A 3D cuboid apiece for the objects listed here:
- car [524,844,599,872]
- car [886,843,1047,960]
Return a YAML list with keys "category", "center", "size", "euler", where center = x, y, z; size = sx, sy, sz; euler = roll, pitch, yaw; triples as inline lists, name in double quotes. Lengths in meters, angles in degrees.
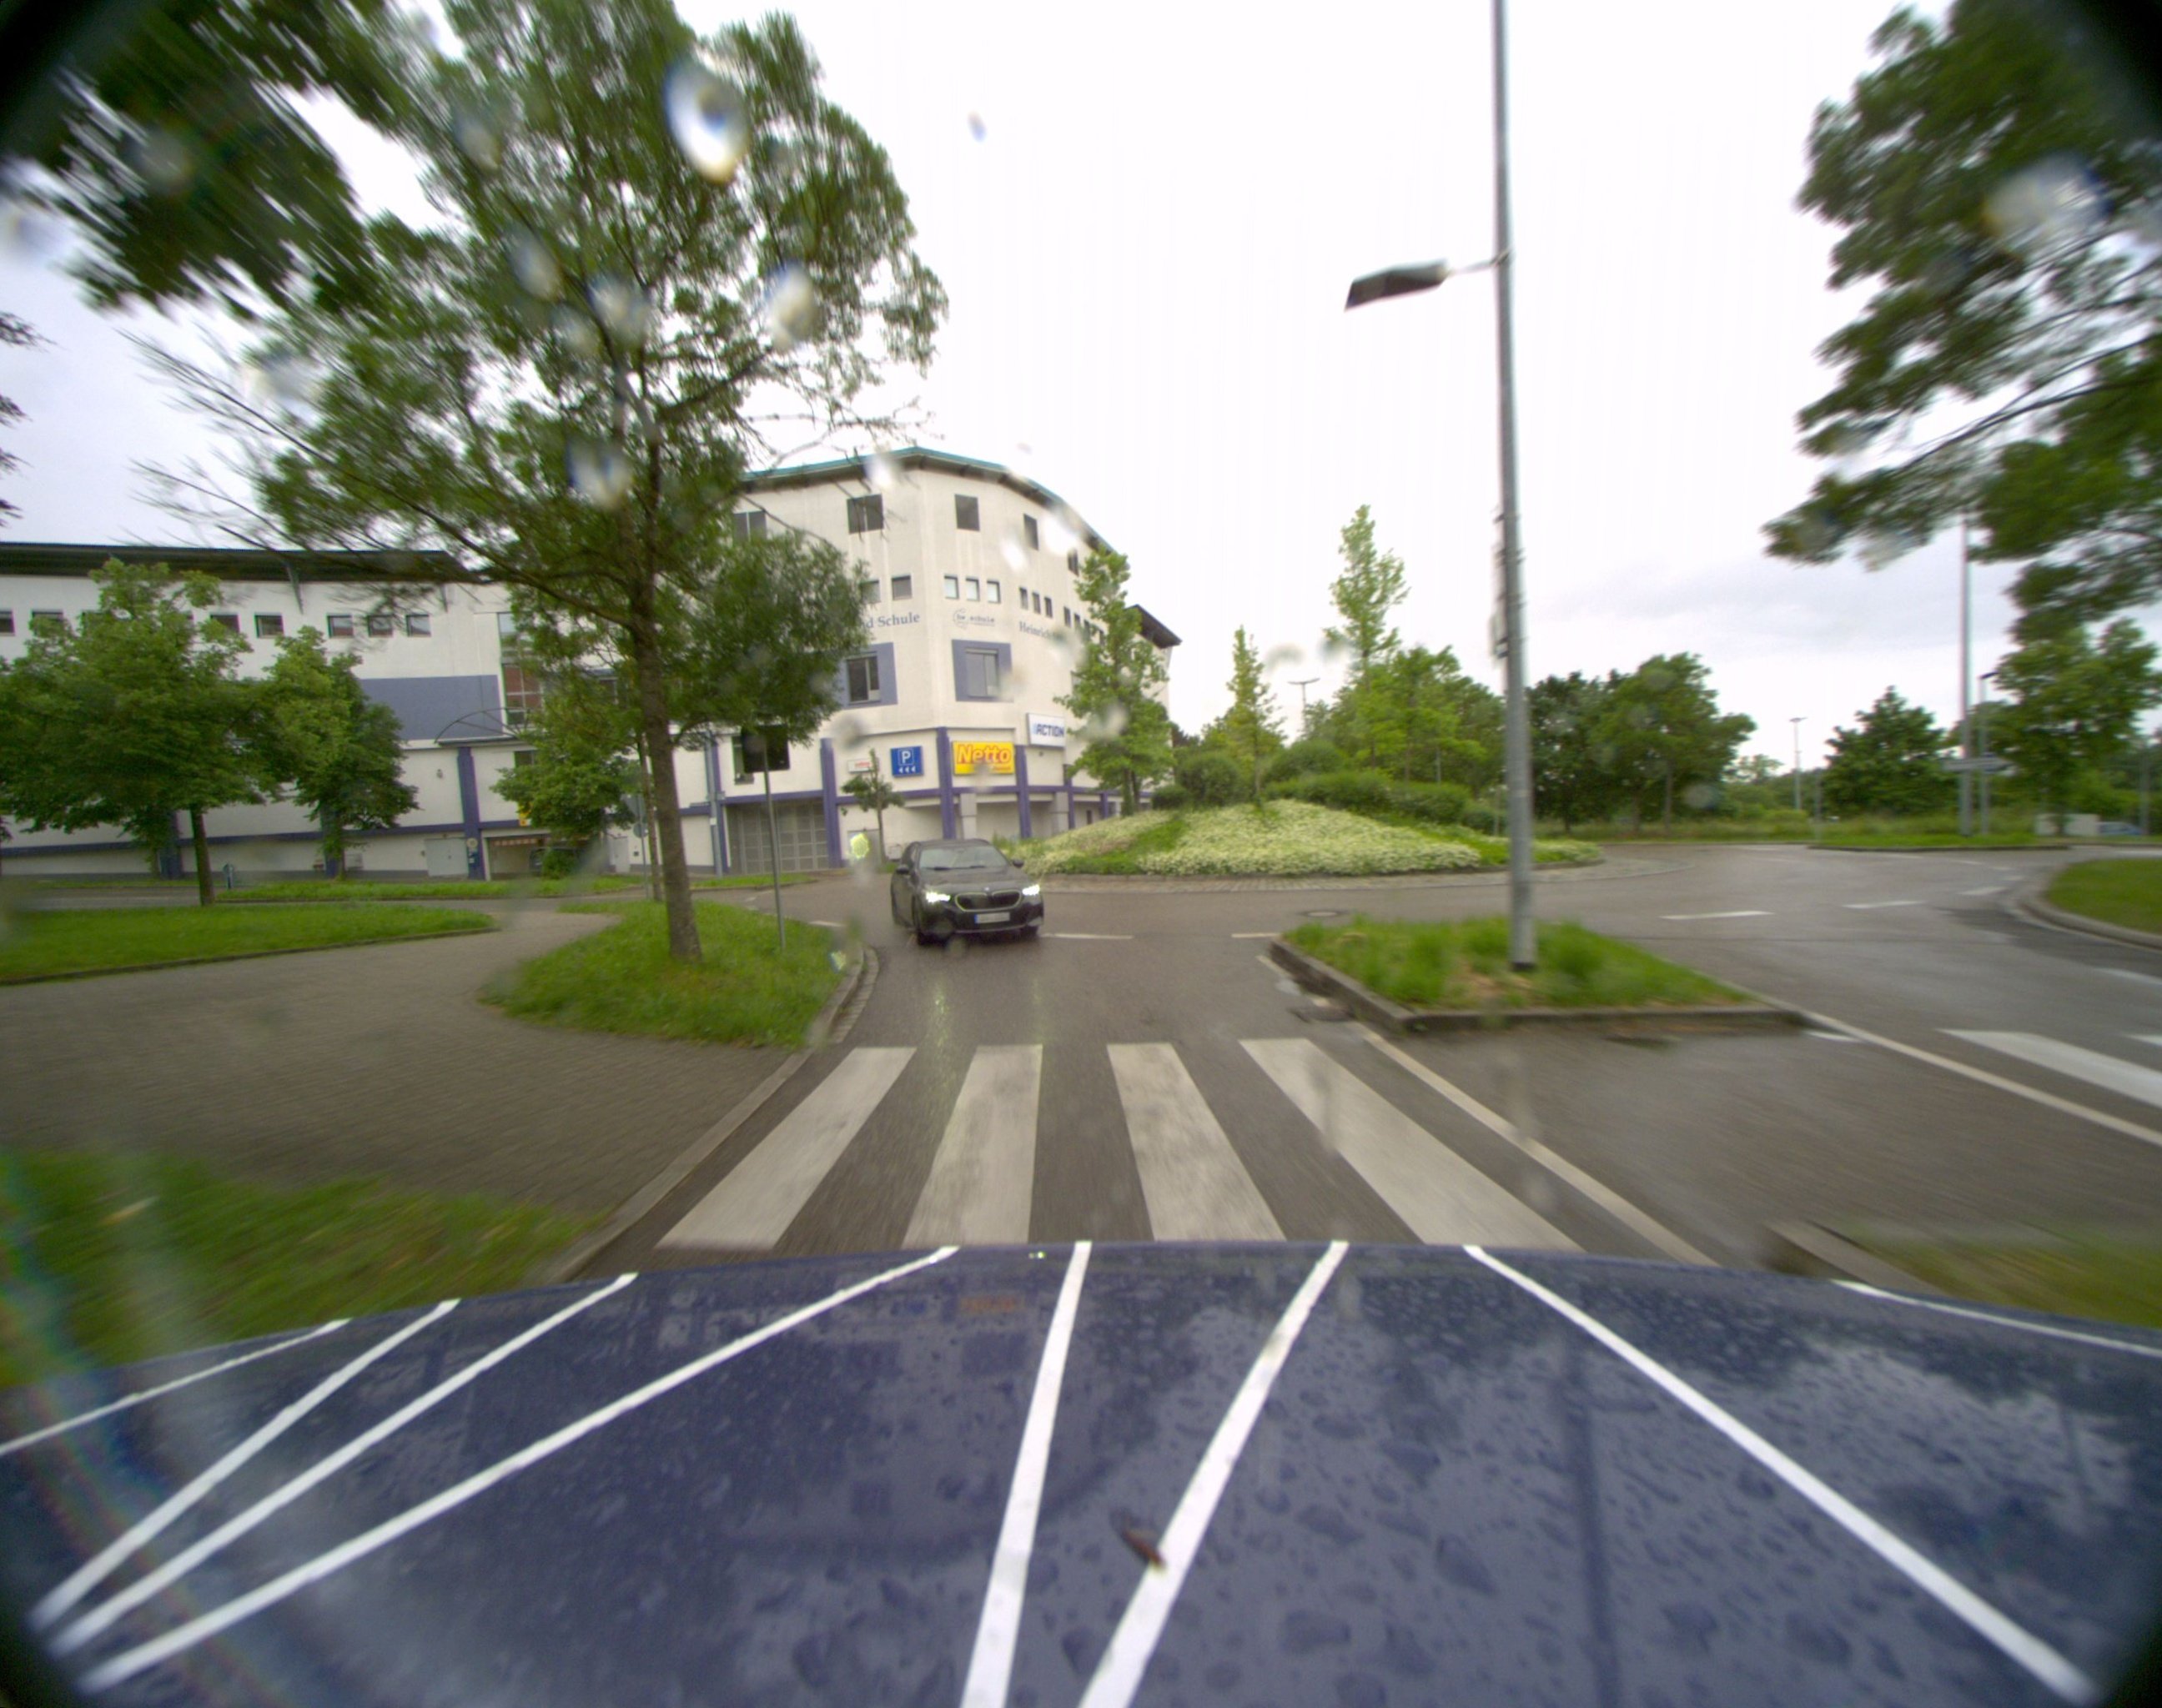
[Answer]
- category: "car"
  center: [-30.852, 0.204, 45.218]
  size: [1.431, 1.576, 3.411]
  euler: [0, 1, 20]
- category: "car"
  center: [-2.059, 0.615, 12.590]
  size: [1.848, 1.472, 3.992]
  euler: [-3, 3, -19]
